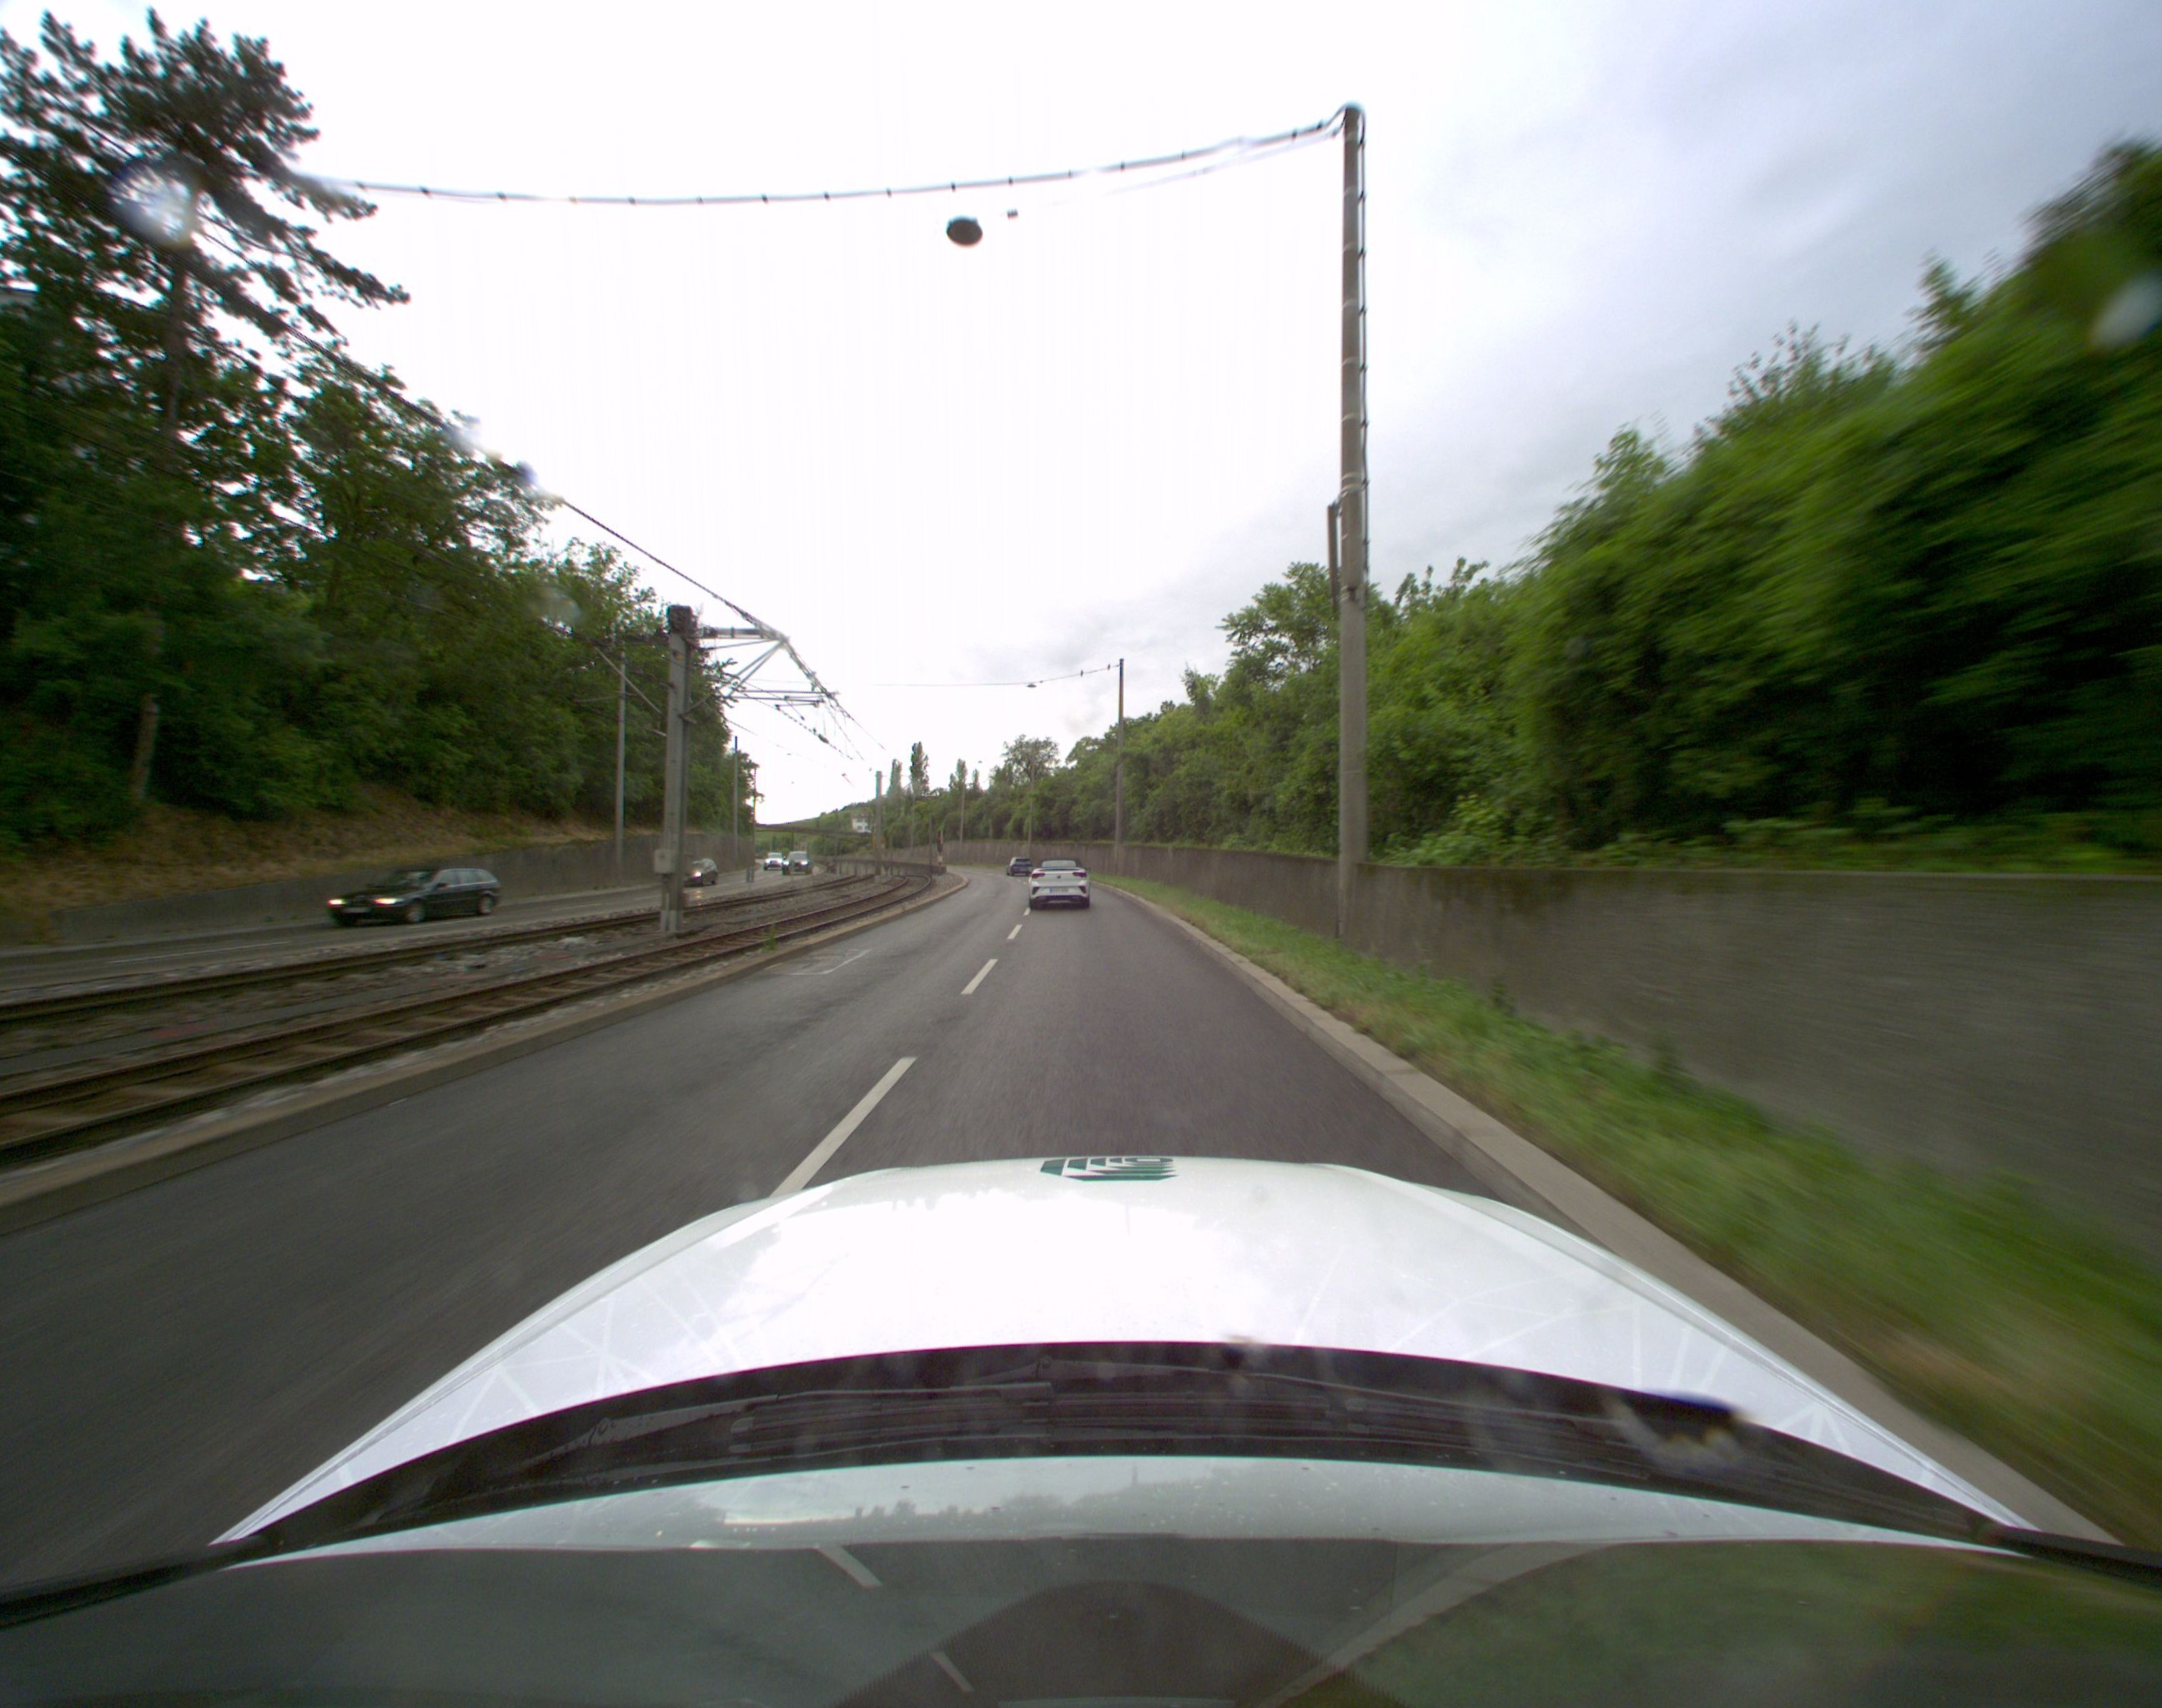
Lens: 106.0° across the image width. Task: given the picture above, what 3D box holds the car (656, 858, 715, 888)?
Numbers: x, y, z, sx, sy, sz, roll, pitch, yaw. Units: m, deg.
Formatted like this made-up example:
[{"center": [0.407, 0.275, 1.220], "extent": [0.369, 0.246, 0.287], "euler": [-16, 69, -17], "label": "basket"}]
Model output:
[{"center": [-21.290, 0.970, 44.045], "extent": [1.930, 1.415, 4.430], "euler": [-2, 1, -14], "label": "car"}]

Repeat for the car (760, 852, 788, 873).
[{"center": [-30.461, 0.812, 80.850], "extent": [1.995, 2.013, 3.983], "euler": [0, 0, -12], "label": "car"}]

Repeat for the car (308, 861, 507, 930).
[{"center": [-17.625, 1.003, 21.664], "extent": [1.742, 1.516, 4.567], "euler": [-2, 0, -6], "label": "car"}]

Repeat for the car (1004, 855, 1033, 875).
[{"center": [-4.898, 0.851, 63.639], "extent": [1.764, 1.501, 3.984], "euler": [0, 0, -12], "label": "car"}]

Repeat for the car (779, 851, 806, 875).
[{"center": [-22.902, 0.667, 64.769], "extent": [1.933, 1.787, 4.423], "euler": [-1, 0, -19], "label": "car"}]

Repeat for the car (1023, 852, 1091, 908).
[{"center": [-0.640, 0.758, 25.144], "extent": [1.865, 1.524, 4.540], "euler": [-1, -1, 1], "label": "car"}]
